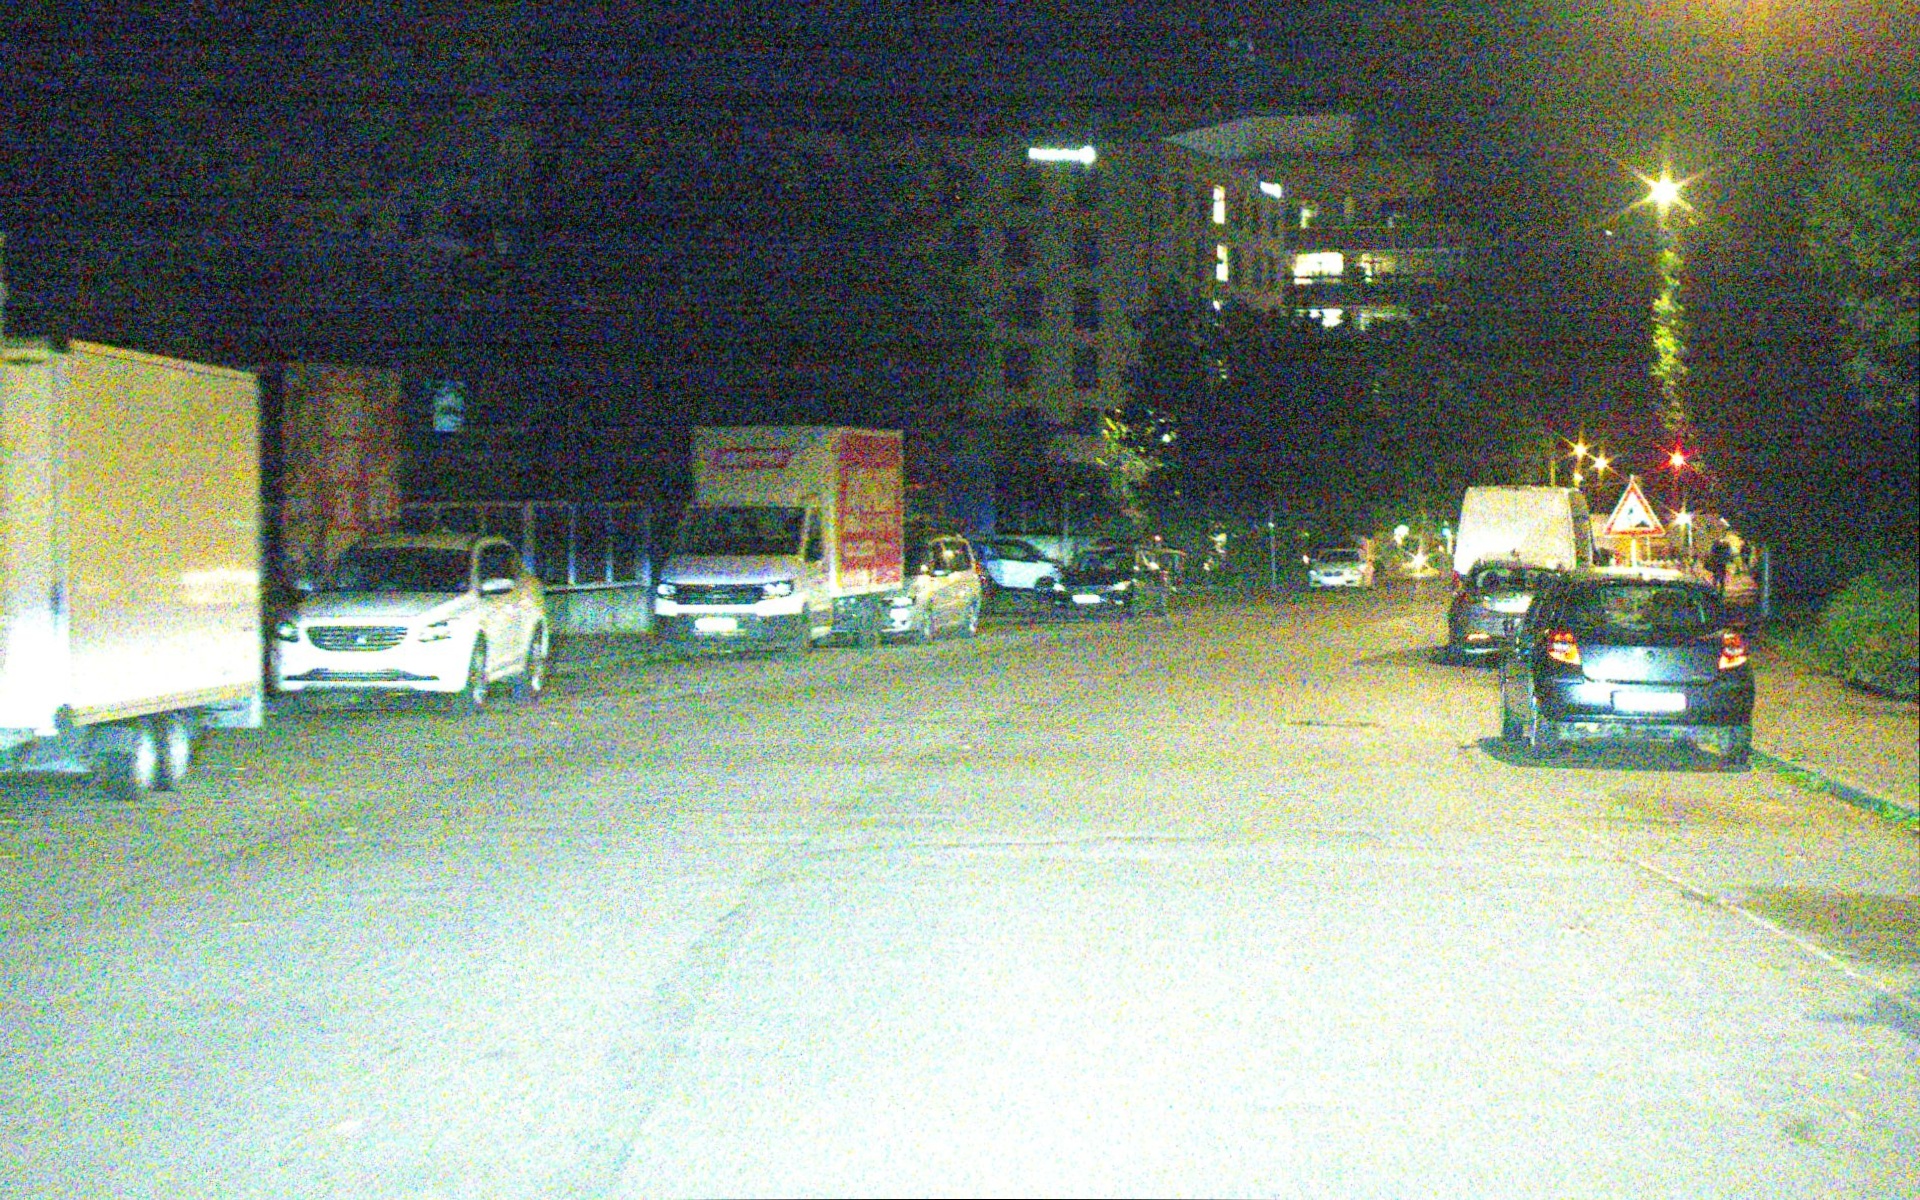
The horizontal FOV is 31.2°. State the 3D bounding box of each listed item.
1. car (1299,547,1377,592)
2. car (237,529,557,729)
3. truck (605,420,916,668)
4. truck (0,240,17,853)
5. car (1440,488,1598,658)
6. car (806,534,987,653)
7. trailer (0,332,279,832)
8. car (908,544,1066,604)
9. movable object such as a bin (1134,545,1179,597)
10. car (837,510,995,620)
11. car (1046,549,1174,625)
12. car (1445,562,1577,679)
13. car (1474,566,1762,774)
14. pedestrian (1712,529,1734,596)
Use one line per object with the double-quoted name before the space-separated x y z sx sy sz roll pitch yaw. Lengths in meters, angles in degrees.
"car" 12.332 -1.014 111.984 1.912 1.399 4.335 0 1 14
"car" -5.233 0.216 32.598 1.994 1.766 4.692 0 1 3
"truck" -2.701 -0.805 49.099 2.545 3.269 7.308 0 1 12
"truck" -6.473 -0.223 14.832 2.373 3.232 7.231 0 1 4
"car" 8.943 -0.467 54.616 2.022 2.518 6.048 1 1 13
"car" -0.960 -0.138 55.409 1.830 1.810 4.836 0 1 12
"trailer" -5.928 -0.138 21.530 2.205 2.786 4.616 0 1 3
"car" 0.760 -0.713 93.949 3.989 1.565 1.816 -1 1 14
"movable object such as a bin" 5.713 -0.837 99.867 1.165 1.490 1.065 0 1 11
"car" -0.936 -0.796 76.593 1.995 2.313 4.962 -2 1 18
"car" 3.236 -0.268 73.270 1.756 1.521 4.319 2 0 15
"car" 7.618 0.244 47.447 1.711 1.503 4.639 0 1 9
"car" 5.250 0.506 27.889 1.711 1.503 4.000 1 1 3
"pedestrian" 20.965 -1.033 94.481 0.570 1.846 0.819 0 1 15
